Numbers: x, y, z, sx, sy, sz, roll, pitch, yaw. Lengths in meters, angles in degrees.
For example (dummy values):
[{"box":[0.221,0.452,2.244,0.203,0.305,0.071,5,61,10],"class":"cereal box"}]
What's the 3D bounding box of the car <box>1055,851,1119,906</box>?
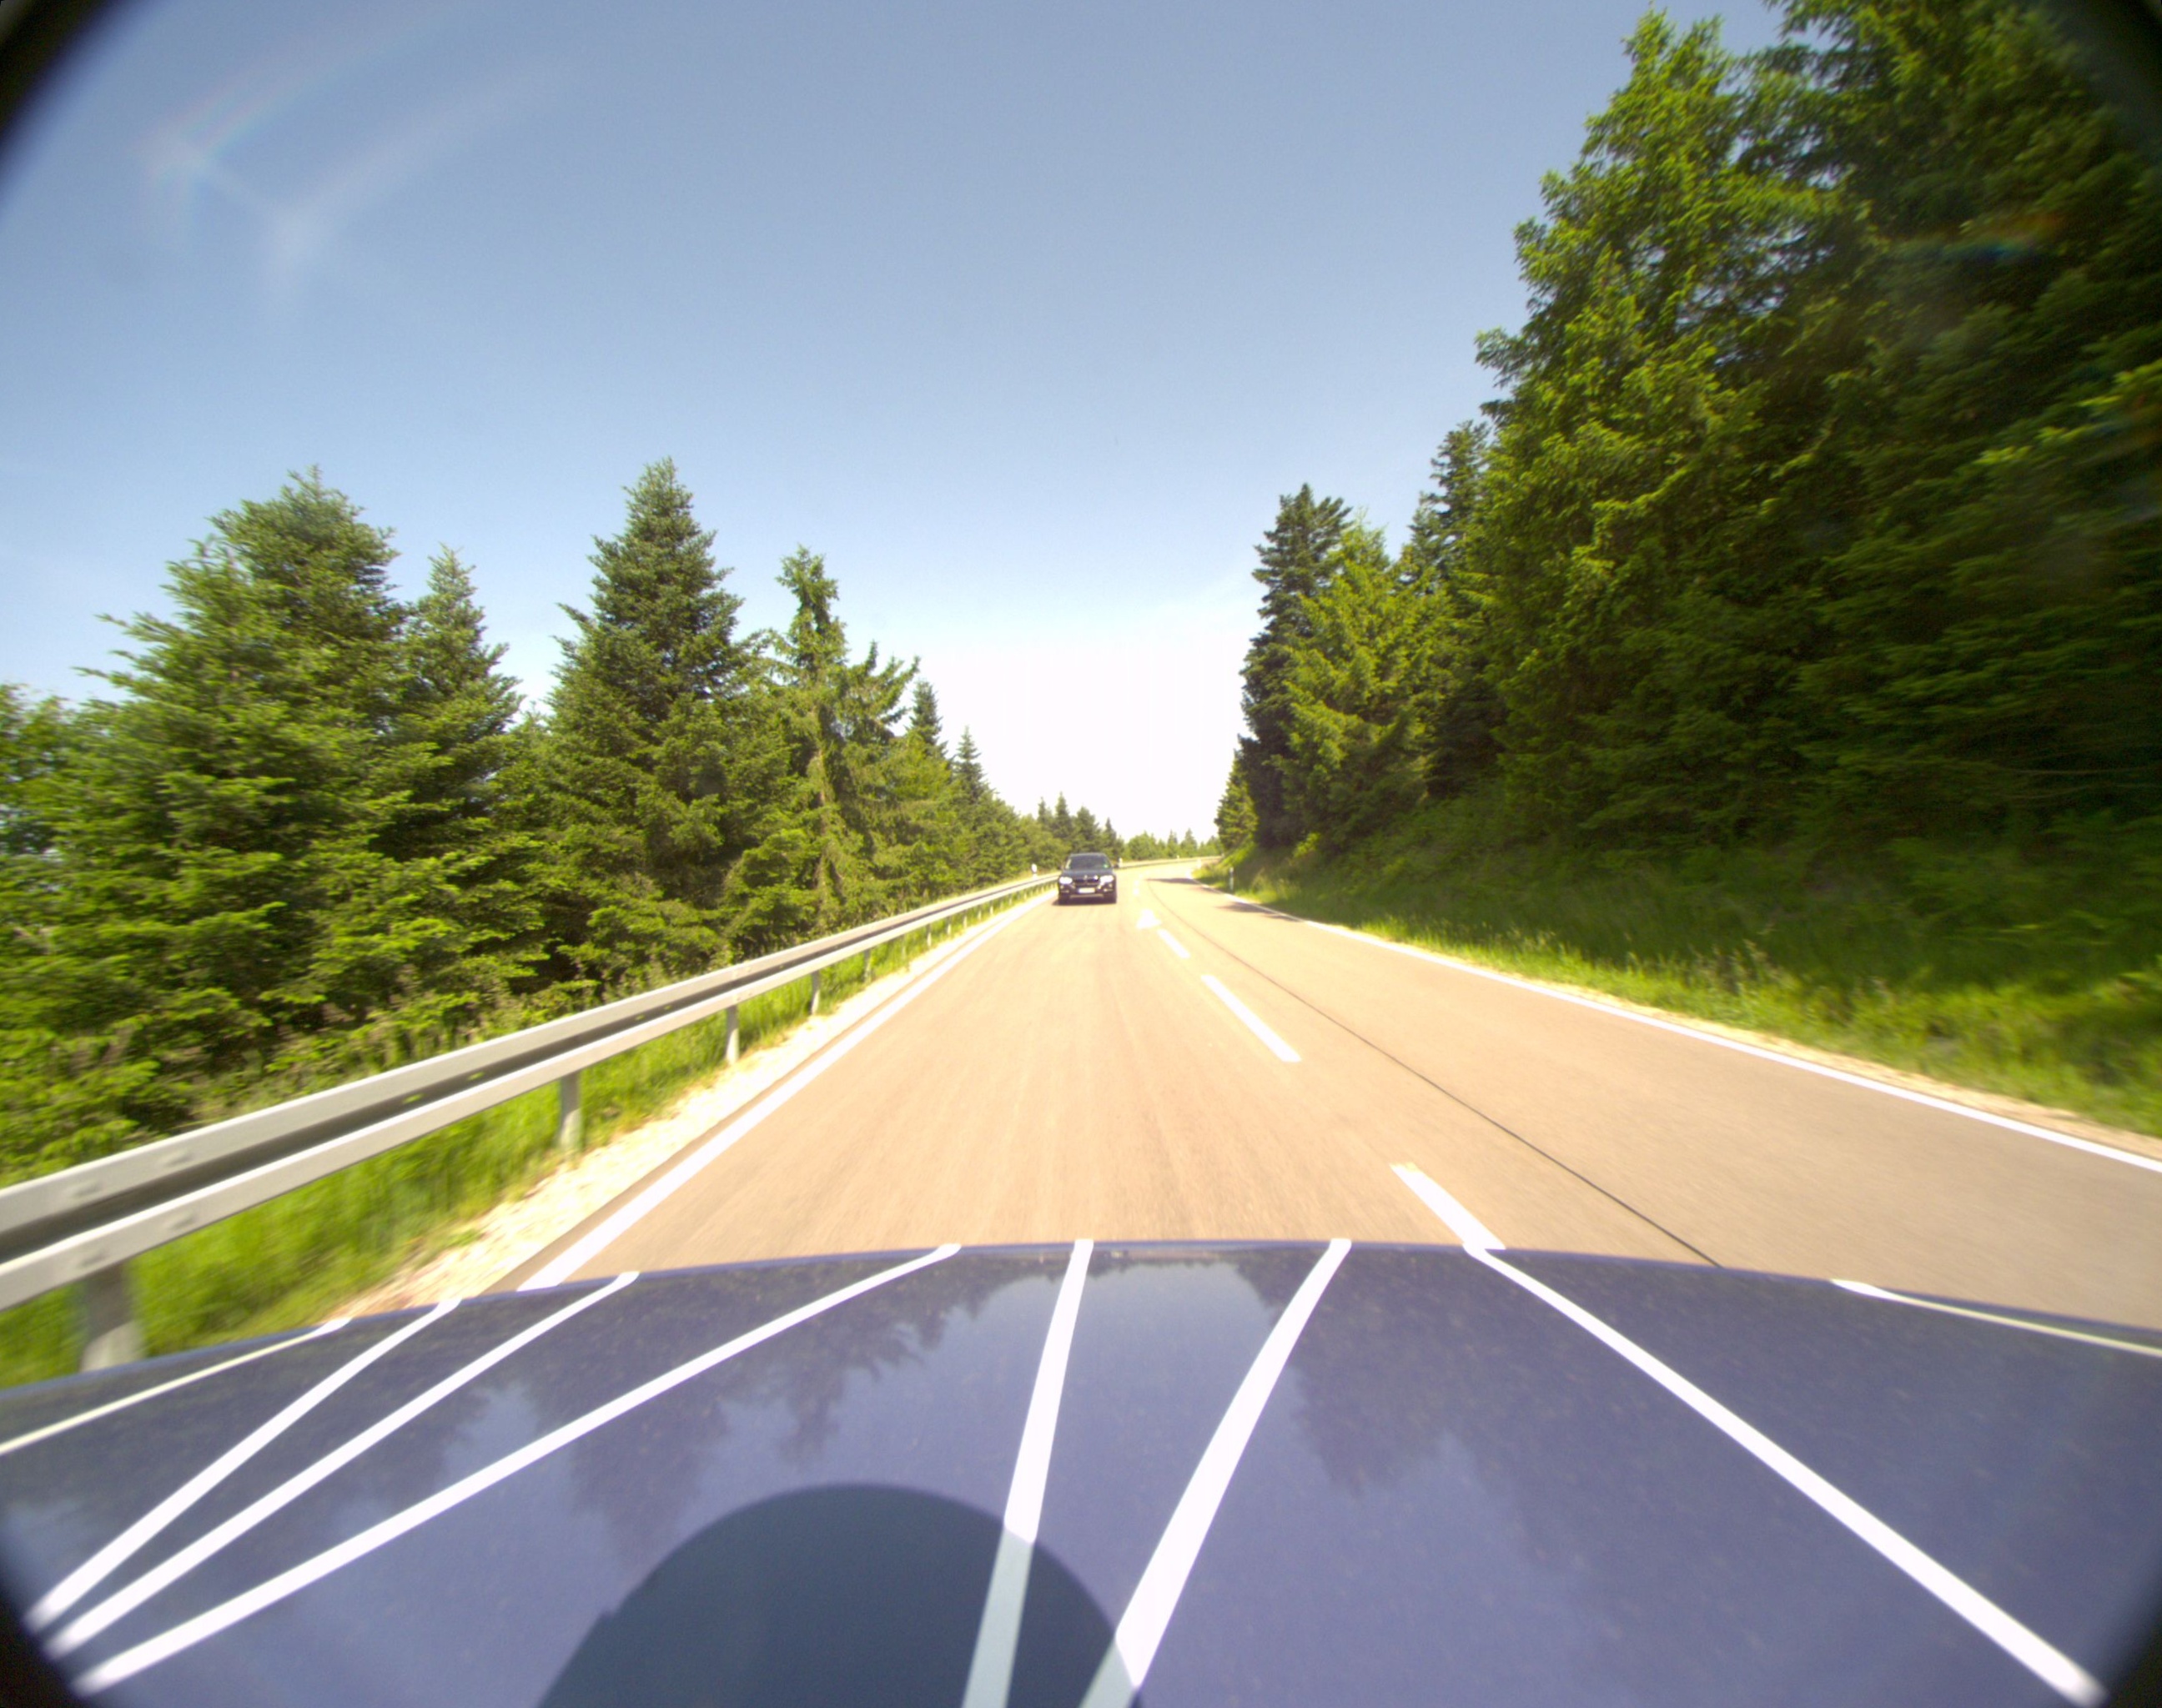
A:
[{"box":[0.255,0.816,27.408,1.998,1.676,5.937,-2,-1,1],"class":"car"}]
